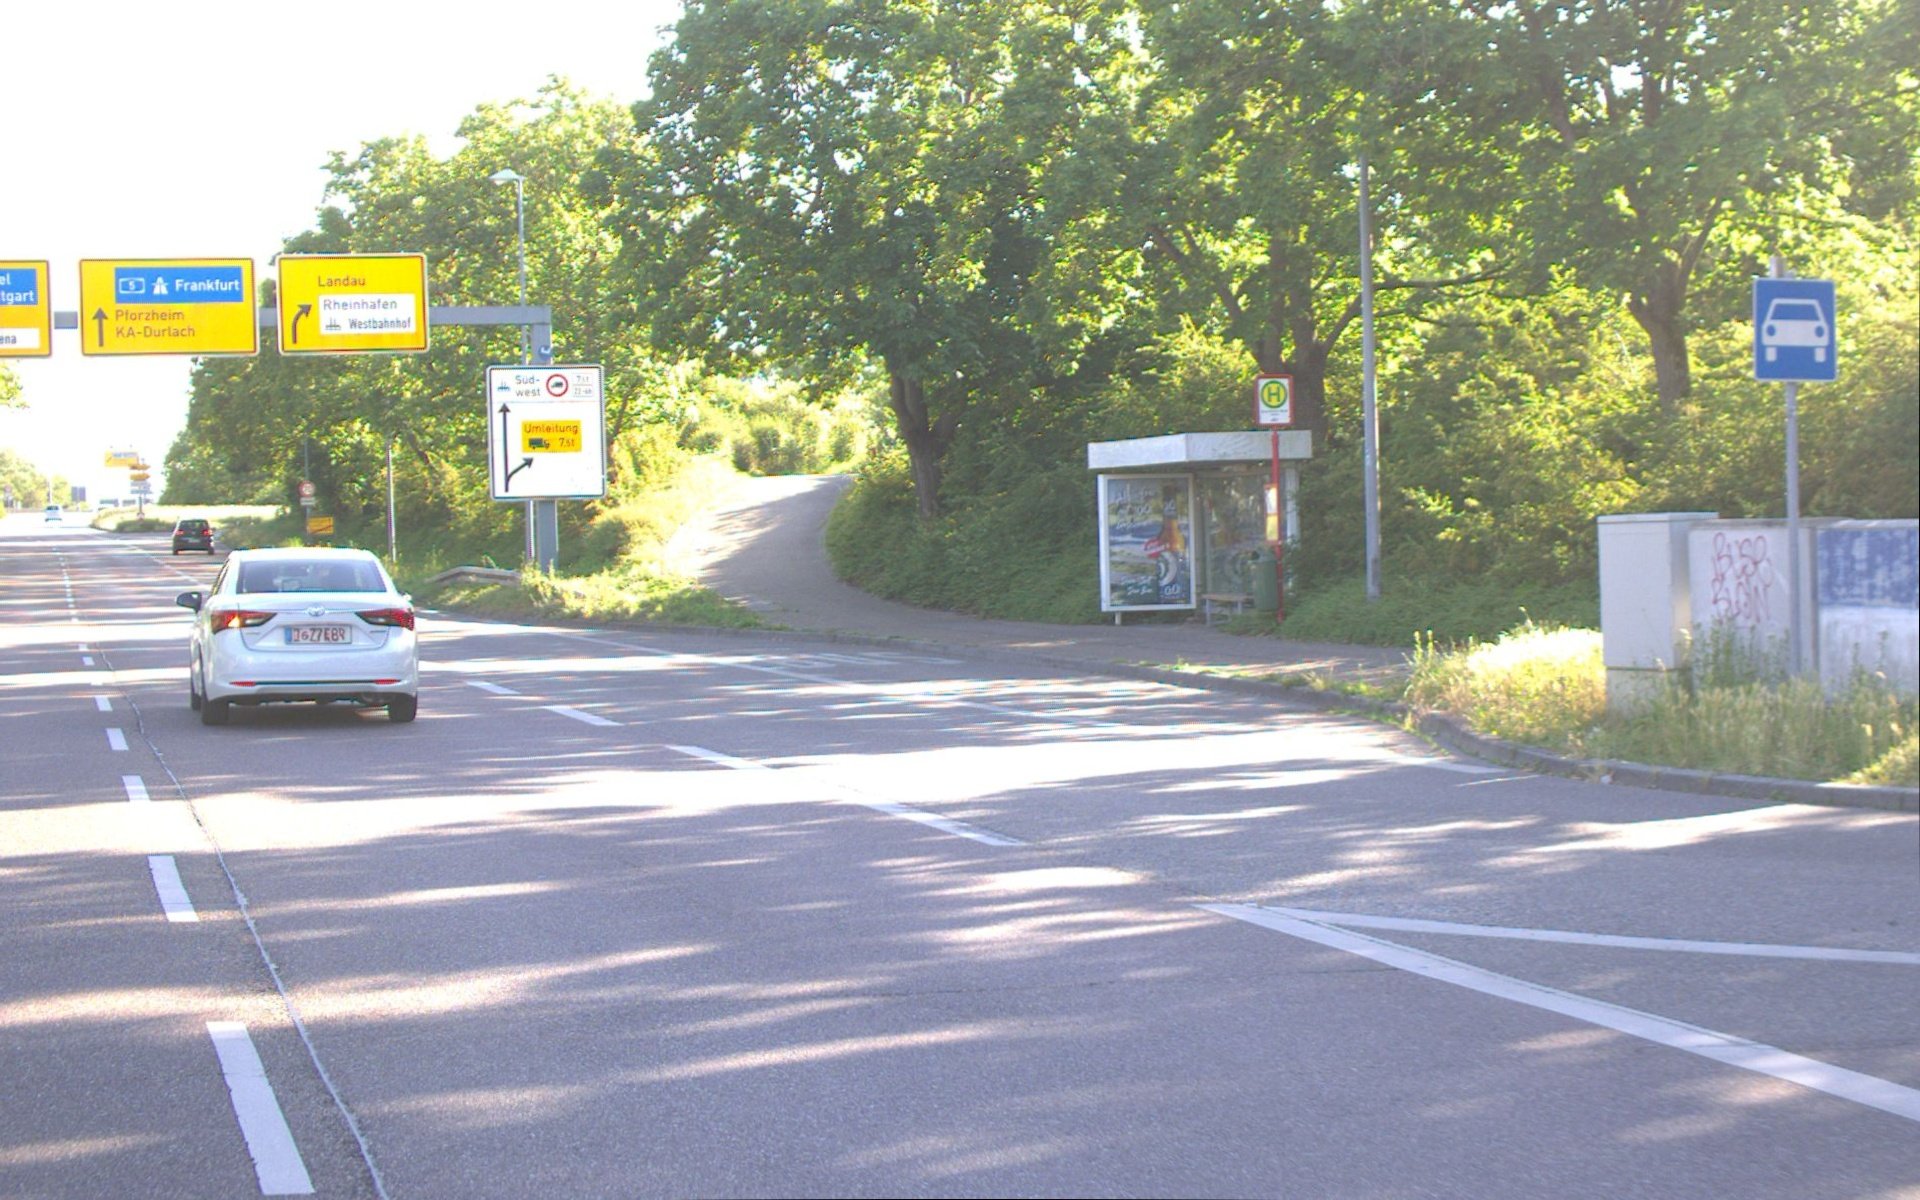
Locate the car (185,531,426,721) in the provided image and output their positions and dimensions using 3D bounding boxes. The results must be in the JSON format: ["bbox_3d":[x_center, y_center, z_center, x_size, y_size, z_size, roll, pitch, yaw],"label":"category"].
[{"bbox_3d":[-5.741,0.158,29.818,1.767,1.459,4.368,-1,2,-14],"label":"car"}]

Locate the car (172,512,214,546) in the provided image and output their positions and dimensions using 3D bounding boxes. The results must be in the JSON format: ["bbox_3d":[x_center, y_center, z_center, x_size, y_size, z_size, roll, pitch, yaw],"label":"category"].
[{"bbox_3d":[-34.697,-3.211,155.432,1.767,1.459,4.368,-1,2,-13],"label":"car"}]
